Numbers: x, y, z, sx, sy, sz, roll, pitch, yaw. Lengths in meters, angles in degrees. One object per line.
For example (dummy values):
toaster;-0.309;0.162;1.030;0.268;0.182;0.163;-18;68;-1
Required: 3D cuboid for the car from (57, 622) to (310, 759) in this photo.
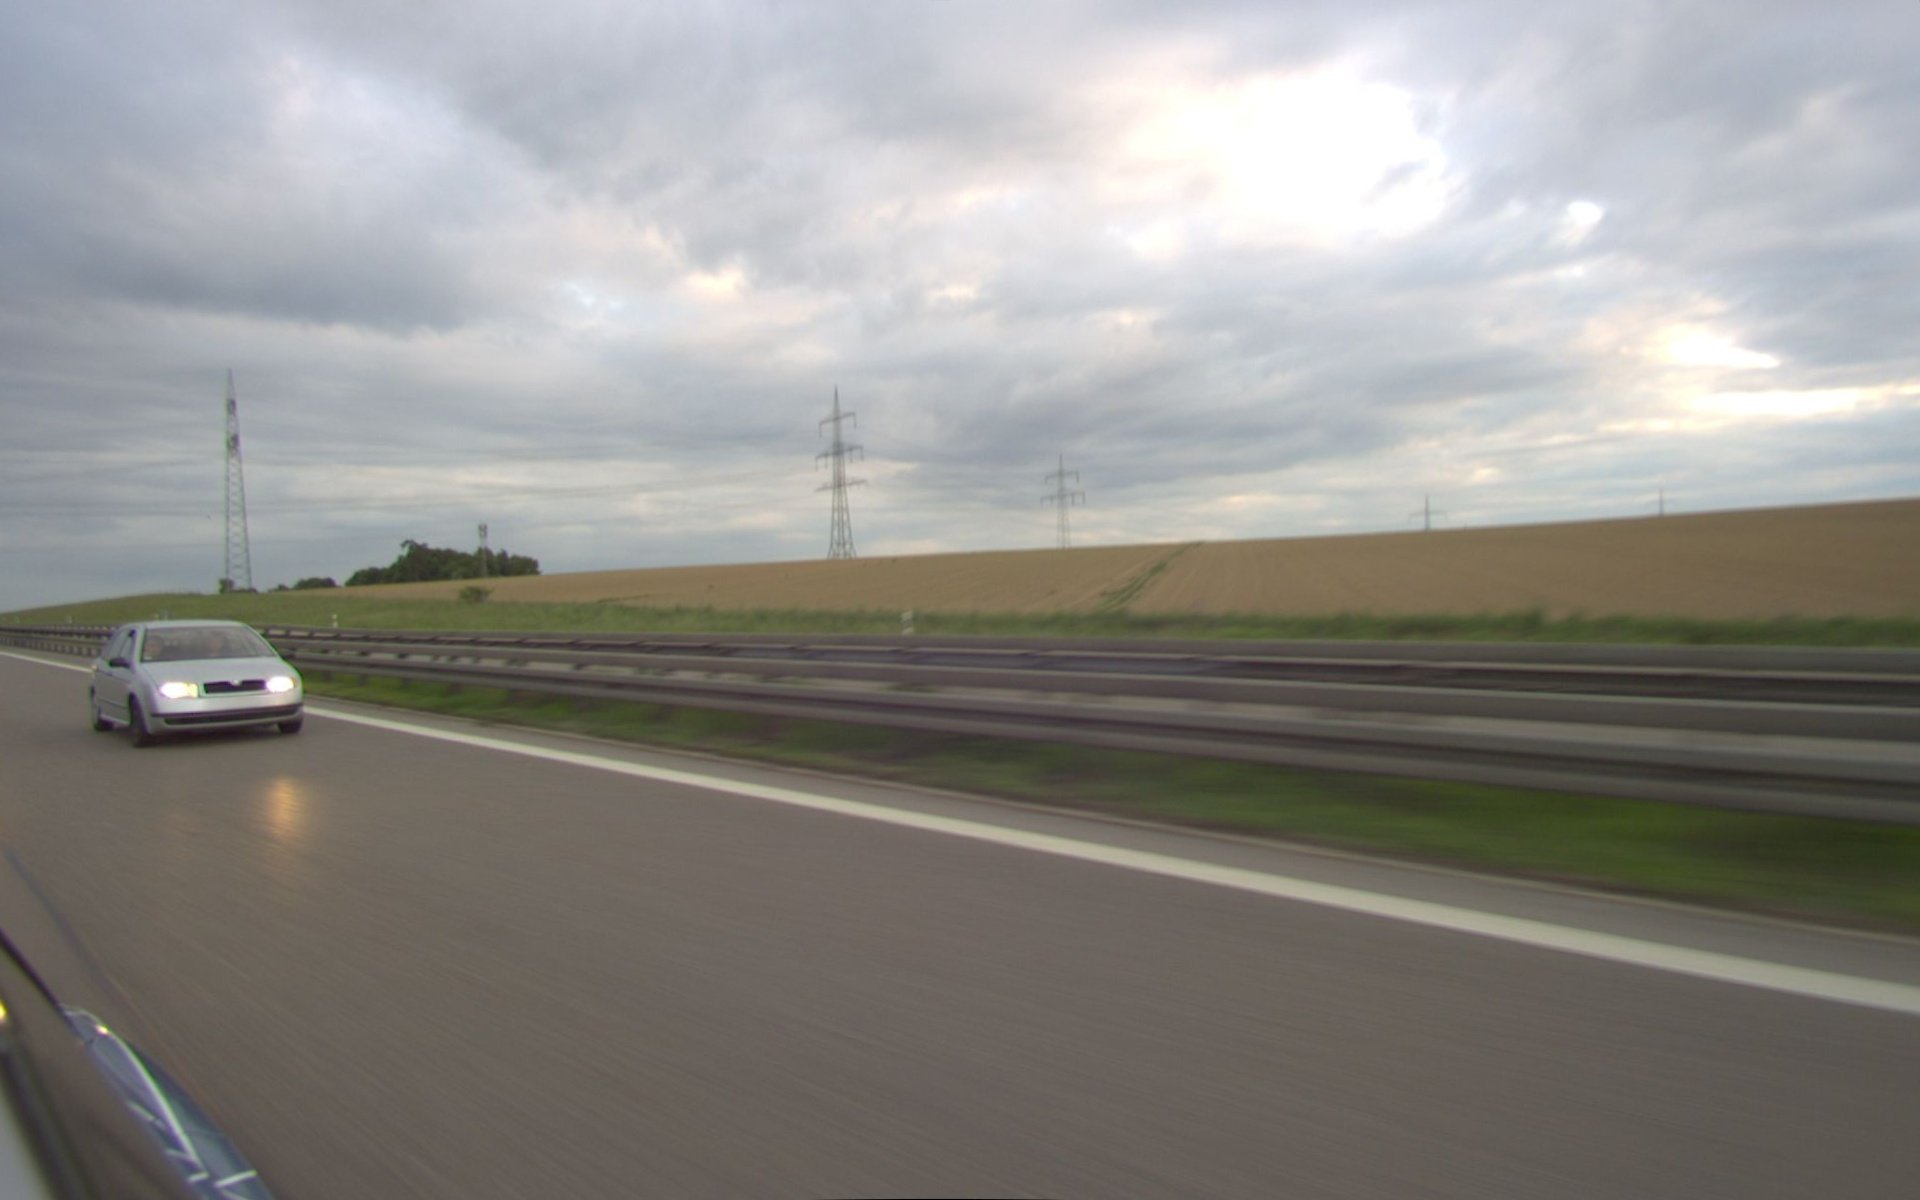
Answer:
car;-9.825;0.989;12.664;4.598;1.400;1.572;-1;0;40
